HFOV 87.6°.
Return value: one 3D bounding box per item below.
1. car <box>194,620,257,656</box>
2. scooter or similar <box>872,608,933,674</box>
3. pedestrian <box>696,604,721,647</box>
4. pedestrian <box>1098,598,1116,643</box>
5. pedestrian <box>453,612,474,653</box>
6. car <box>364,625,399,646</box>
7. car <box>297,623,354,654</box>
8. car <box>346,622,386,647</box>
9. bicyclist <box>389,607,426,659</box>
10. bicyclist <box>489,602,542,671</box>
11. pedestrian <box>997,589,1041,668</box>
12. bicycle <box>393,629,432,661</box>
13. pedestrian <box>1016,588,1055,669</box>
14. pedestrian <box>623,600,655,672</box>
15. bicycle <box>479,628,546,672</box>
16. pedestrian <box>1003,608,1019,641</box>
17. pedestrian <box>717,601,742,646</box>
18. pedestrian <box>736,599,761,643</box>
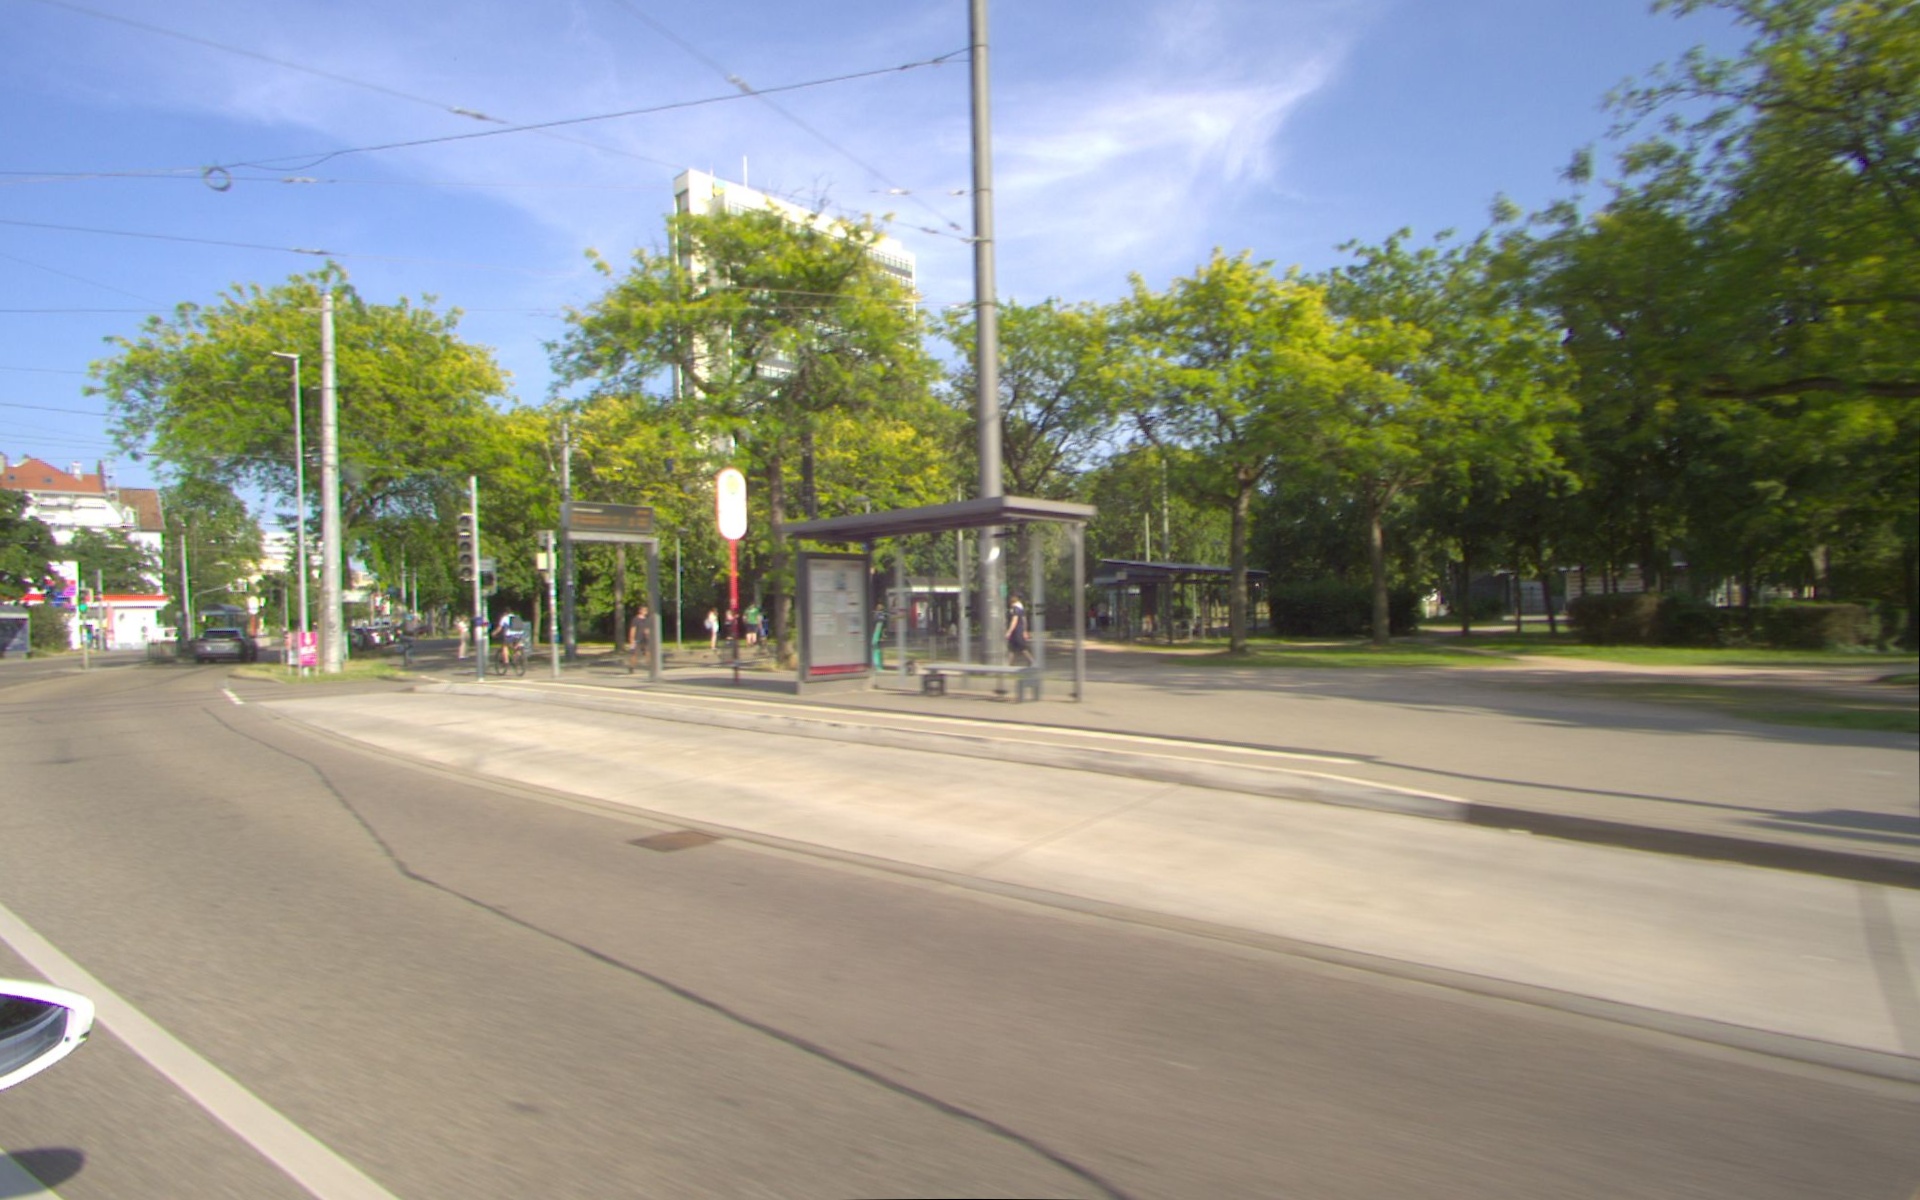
[{"bbox_3d":[-34.300,1.790,46.868,1.814,1.620,3.799,1,-2,-28],"label":"car"},{"bbox_3d":[-1.104,0.789,19.277,1.117,1.248,0.351,-1,0,24],"label":"scooter or similar"},{"bbox_3d":[-9.804,1.000,39.107,0.682,1.631,0.638,-1,0,38],"label":"pedestrian"},{"bbox_3d":[6.320,0.892,42.993,0.599,1.891,0.458,-2,-3,41],"label":"pedestrian"},{"bbox_3d":[-20.626,1.333,41.596,0.635,1.687,0.686,-1,0,-36],"label":"pedestrian"},{"bbox_3d":[-45.128,2.736,78.210,1.829,1.535,3.988,-2,0,-23],"label":"car"},{"bbox_3d":[-34.413,2.063,54.410,1.828,1.535,3.989,-2,0,-22],"label":"car"},{"bbox_3d":[-41.169,2.367,69.497,1.829,1.535,3.988,-2,0,-23],"label":"car"},{"bbox_3d":[-19.778,1.183,35.862,1.127,1.769,0.716,-2,3,42],"label":"bicyclist"},{"bbox_3d":[-11.840,0.976,26.665,1.124,1.769,0.647,-2,2,31],"label":"bicyclist"},{"bbox_3d":[1.386,0.676,23.433,0.864,1.799,0.672,0,-2,18],"label":"pedestrian"},{"bbox_3d":[-19.528,1.601,35.678,1.714,1.102,0.637,-2,2,42],"label":"bicycle"},{"bbox_3d":[1.824,0.695,24.070,0.863,1.921,0.673,0,-2,11],"label":"pedestrian"},{"bbox_3d":[-8.189,0.927,25.543,0.574,1.799,0.582,2,-2,-44],"label":"pedestrian"},{"bbox_3d":[-11.958,1.336,26.755,1.912,1.102,0.639,-2,2,32],"label":"bicycle"},{"bbox_3d":[2.844,1.356,55.583,0.665,1.823,0.606,2,-3,-38],"label":"pedestrian"},{"bbox_3d":[-8.945,0.909,38.795,0.682,1.687,0.638,-1,0,38],"label":"pedestrian"},{"bbox_3d":[-8.147,0.800,38.550,0.682,1.687,0.638,-1,0,38],"label":"pedestrian"}]
